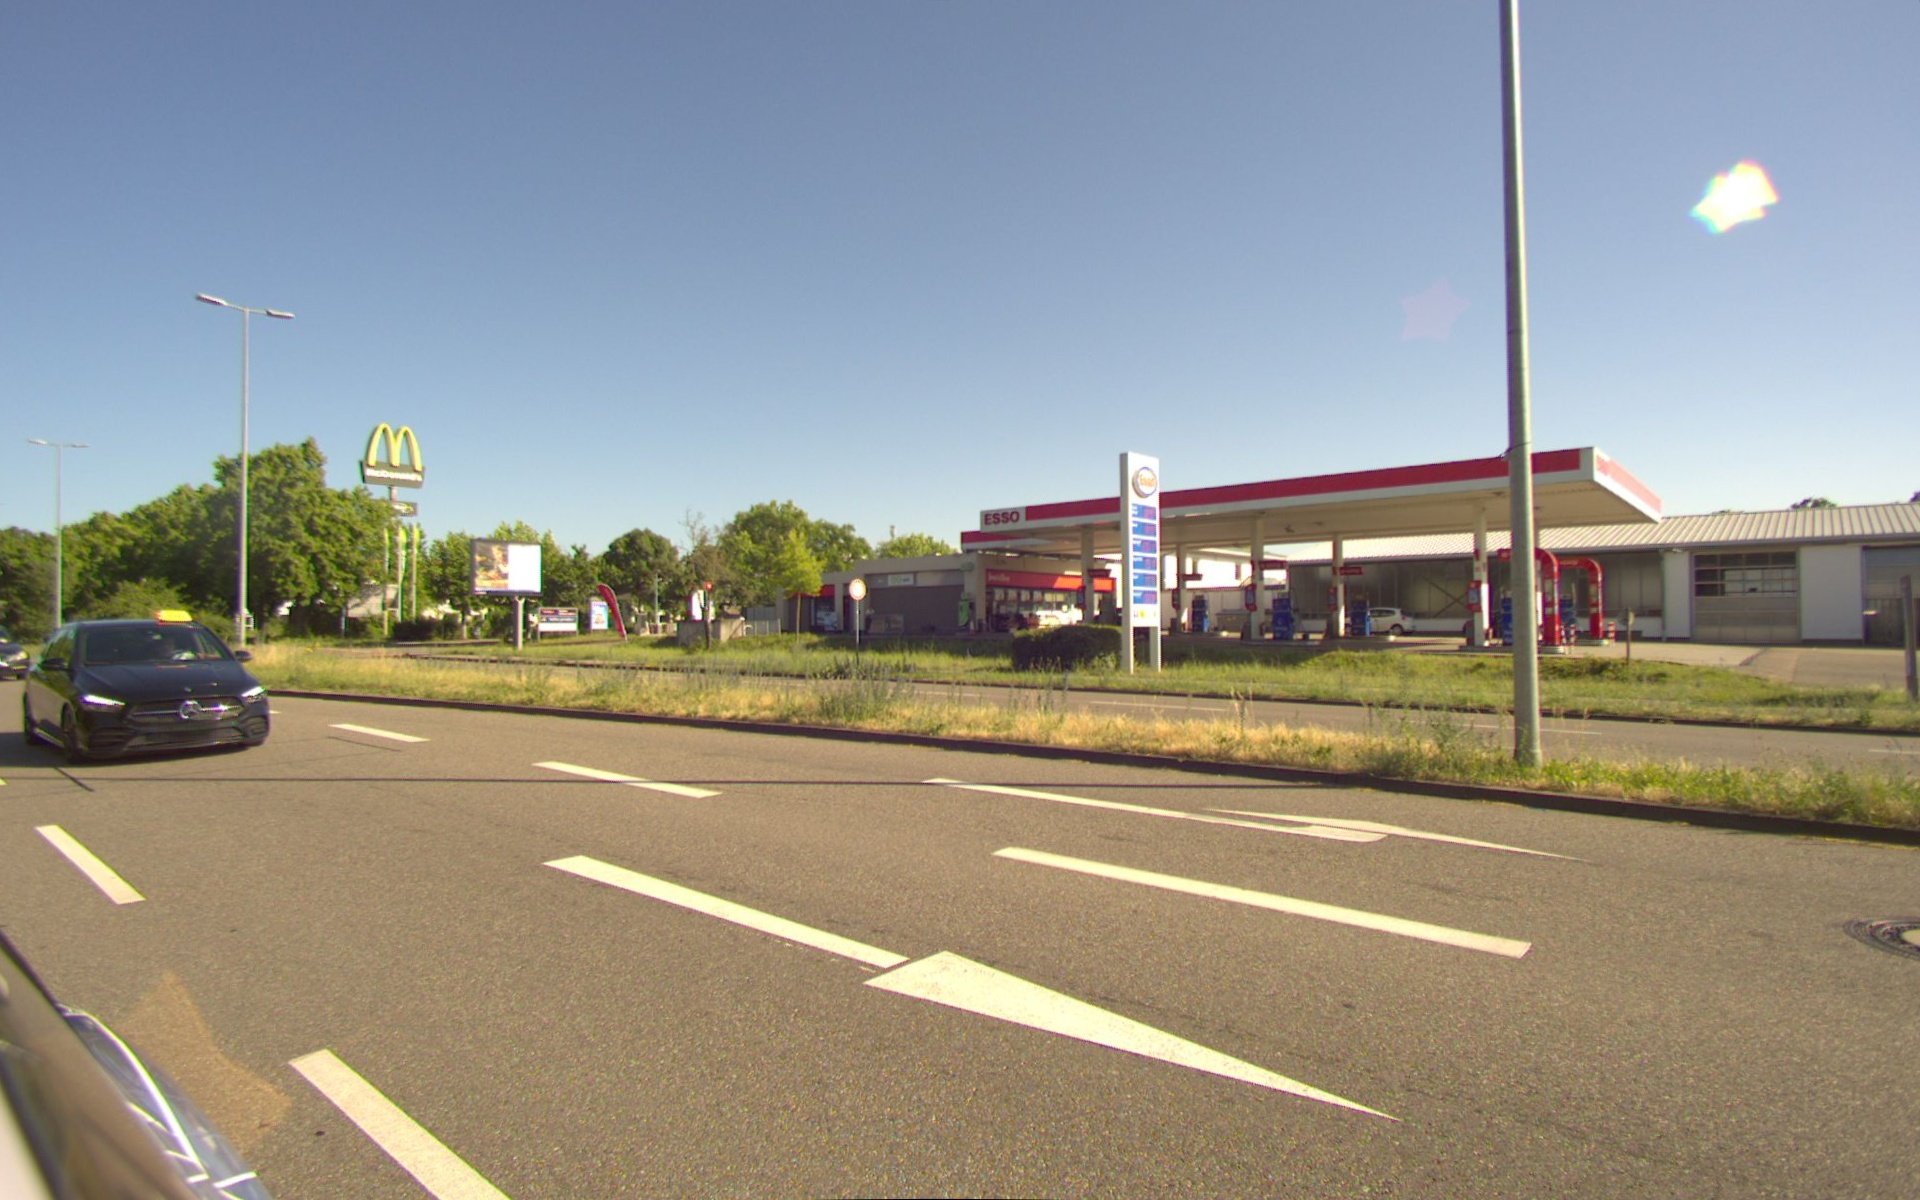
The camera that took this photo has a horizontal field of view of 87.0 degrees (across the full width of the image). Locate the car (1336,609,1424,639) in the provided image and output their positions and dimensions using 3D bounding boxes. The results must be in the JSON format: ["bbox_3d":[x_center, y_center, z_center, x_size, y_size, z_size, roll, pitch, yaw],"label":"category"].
[{"bbox_3d":[22.034,1.230,53.170,3.855,1.500,1.973,-1,0,41],"label":"car"}]

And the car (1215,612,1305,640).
[{"bbox_3d":[17.166,1.457,58.058,4.540,1.477,1.973,-1,0,41],"label":"car"}]

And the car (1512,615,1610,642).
[{"bbox_3d":[28.269,1.310,47.662,3.729,1.196,1.658,-1,0,41],"label":"car"}]

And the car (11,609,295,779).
[{"bbox_3d":[-9.561,0.958,11.849,4.580,1.614,1.765,-2,-1,40],"label":"car"}]

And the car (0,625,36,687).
[{"bbox_3d":[-26.532,1.489,27.281,4.461,1.521,1.927,-1,0,41],"label":"car"}]

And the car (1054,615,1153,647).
[{"bbox_3d":[6.476,1.392,45.846,3.998,1.416,1.973,-2,-2,41],"label":"car"}]
